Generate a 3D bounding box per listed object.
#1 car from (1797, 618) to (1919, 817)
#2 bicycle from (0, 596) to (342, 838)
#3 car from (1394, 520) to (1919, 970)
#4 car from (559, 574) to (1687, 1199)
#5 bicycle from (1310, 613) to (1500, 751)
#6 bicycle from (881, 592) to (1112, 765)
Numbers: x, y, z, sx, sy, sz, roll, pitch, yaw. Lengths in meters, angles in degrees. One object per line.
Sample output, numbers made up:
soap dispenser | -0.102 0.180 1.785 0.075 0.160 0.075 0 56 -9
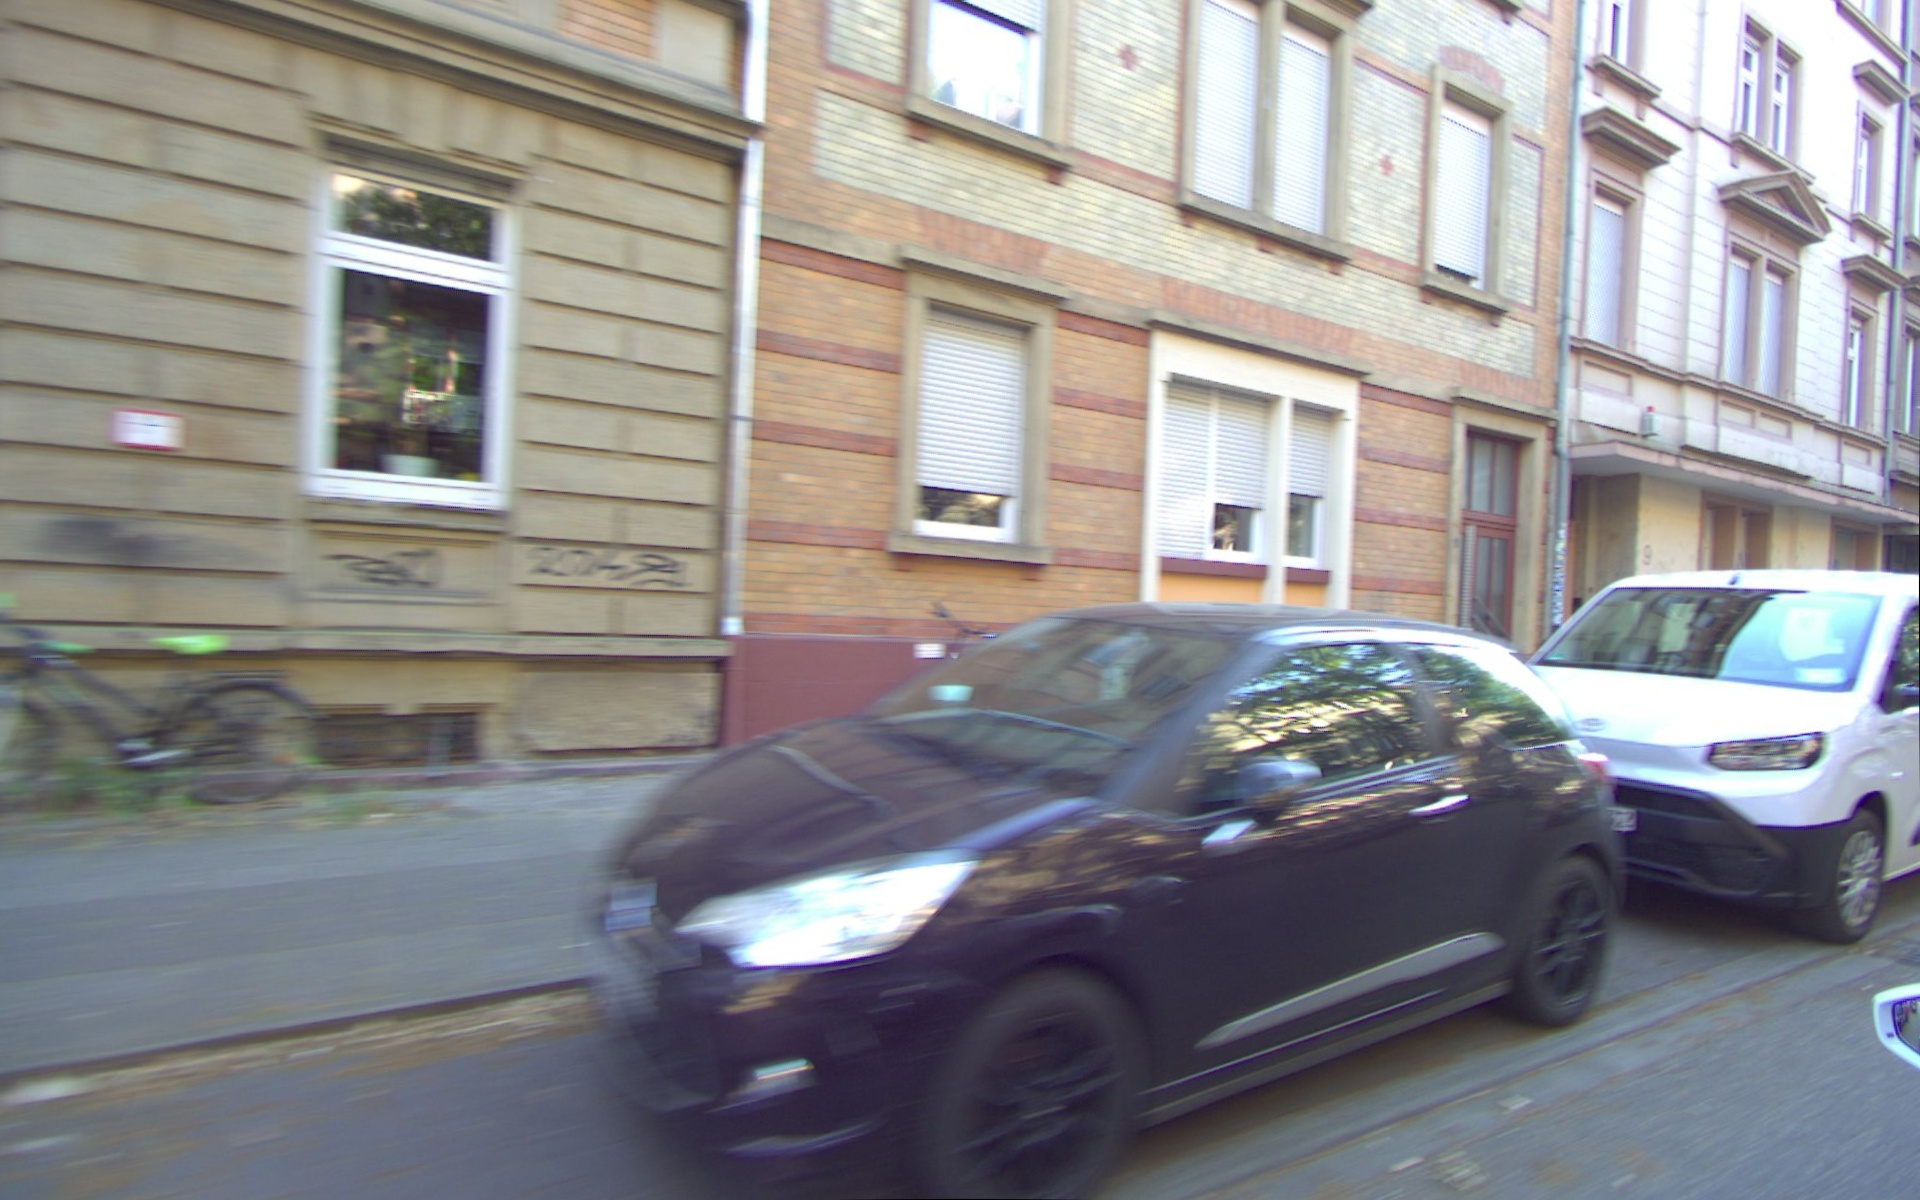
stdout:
car | 9.200 0.976 8.686 4.197 1.492 1.737 2 0 -32
bicycle | -4.170 0.557 5.121 1.709 1.110 0.461 2 1 -33
car | 4.902 0.631 6.125 4.556 1.858 1.832 2 1 -32
car | 0.749 0.720 3.553 3.783 1.440 1.627 2 1 -32
bicycle | 4.763 0.817 10.633 2.646 1.297 0.623 2 1 -38
bicycle | 0.329 0.614 8.183 1.888 1.274 0.491 2 1 -32
